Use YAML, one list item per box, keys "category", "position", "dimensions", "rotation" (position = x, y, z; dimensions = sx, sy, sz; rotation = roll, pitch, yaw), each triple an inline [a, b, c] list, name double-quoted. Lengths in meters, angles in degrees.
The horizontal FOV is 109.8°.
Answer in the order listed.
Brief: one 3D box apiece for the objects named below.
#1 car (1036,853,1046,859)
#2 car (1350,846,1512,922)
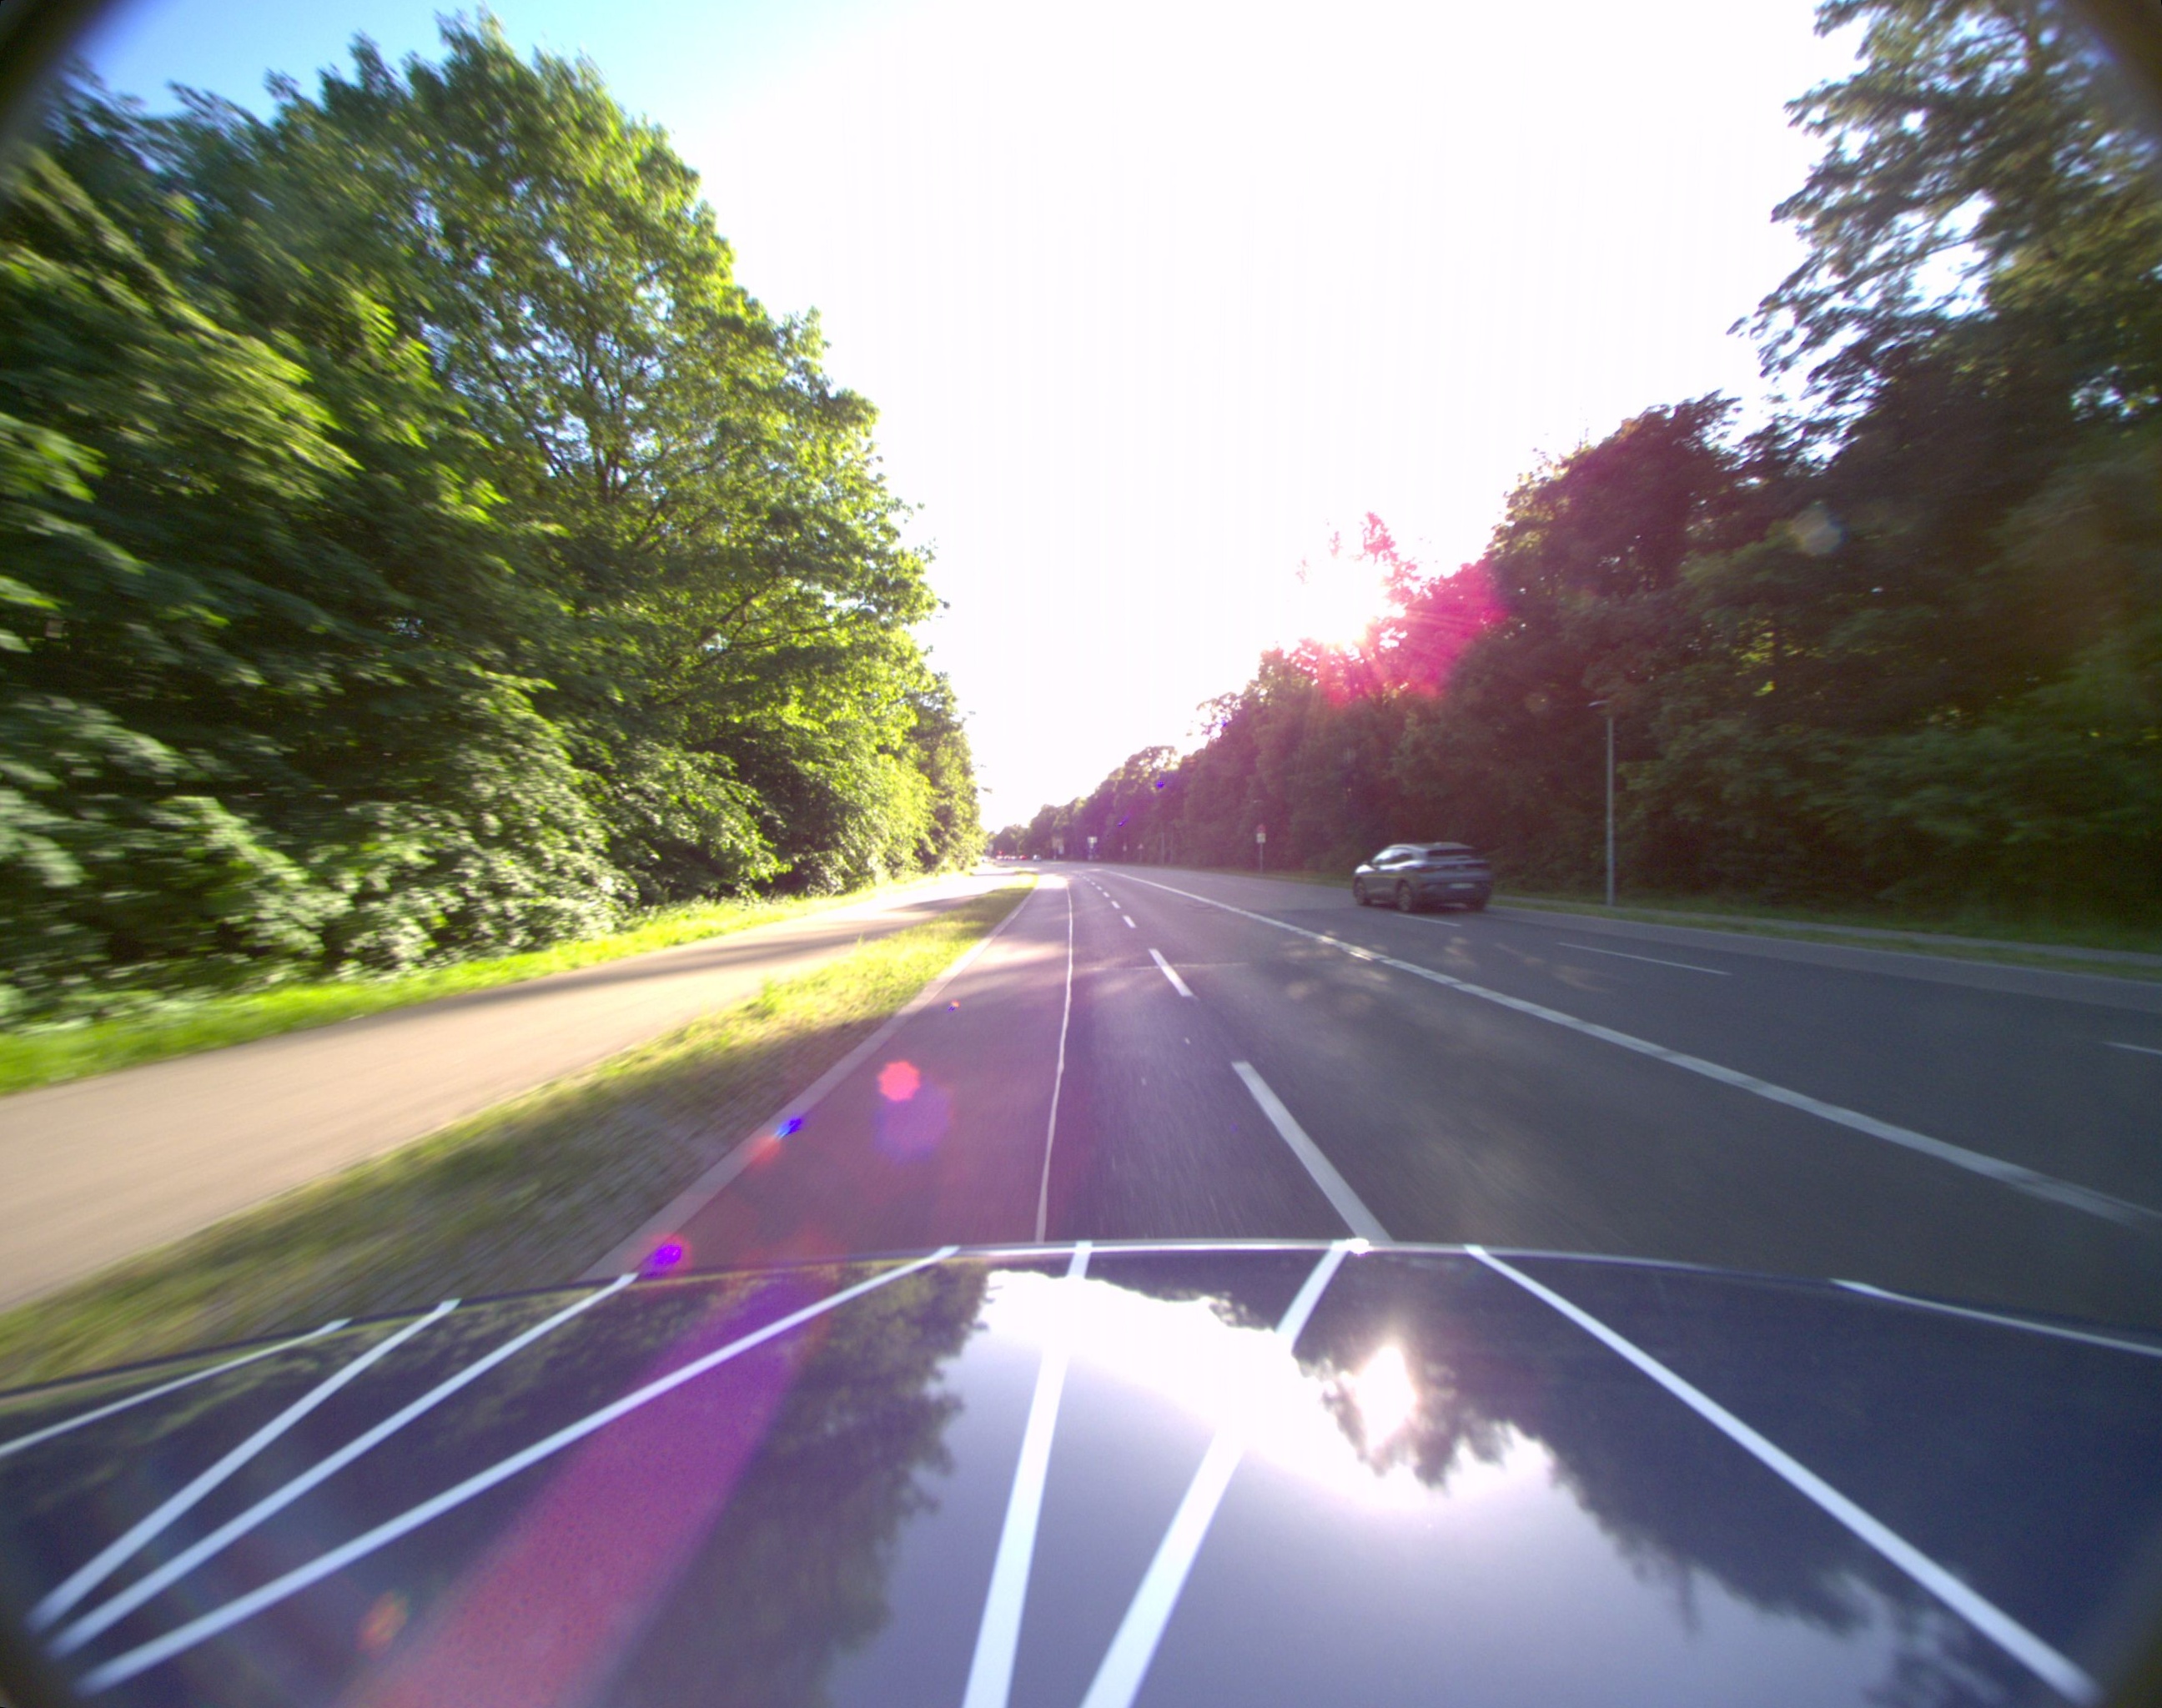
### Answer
- category: "car"
  position: [-10.766, 0.447, 204.337]
  dimensions: [1.745, 1.449, 3.994]
  rotation: [-3, 0, -15]
- category: "car"
  position: [8.387, 0.661, 18.720]
  dimensions: [1.901, 1.601, 4.449]
  rotation: [-2, 0, 0]
